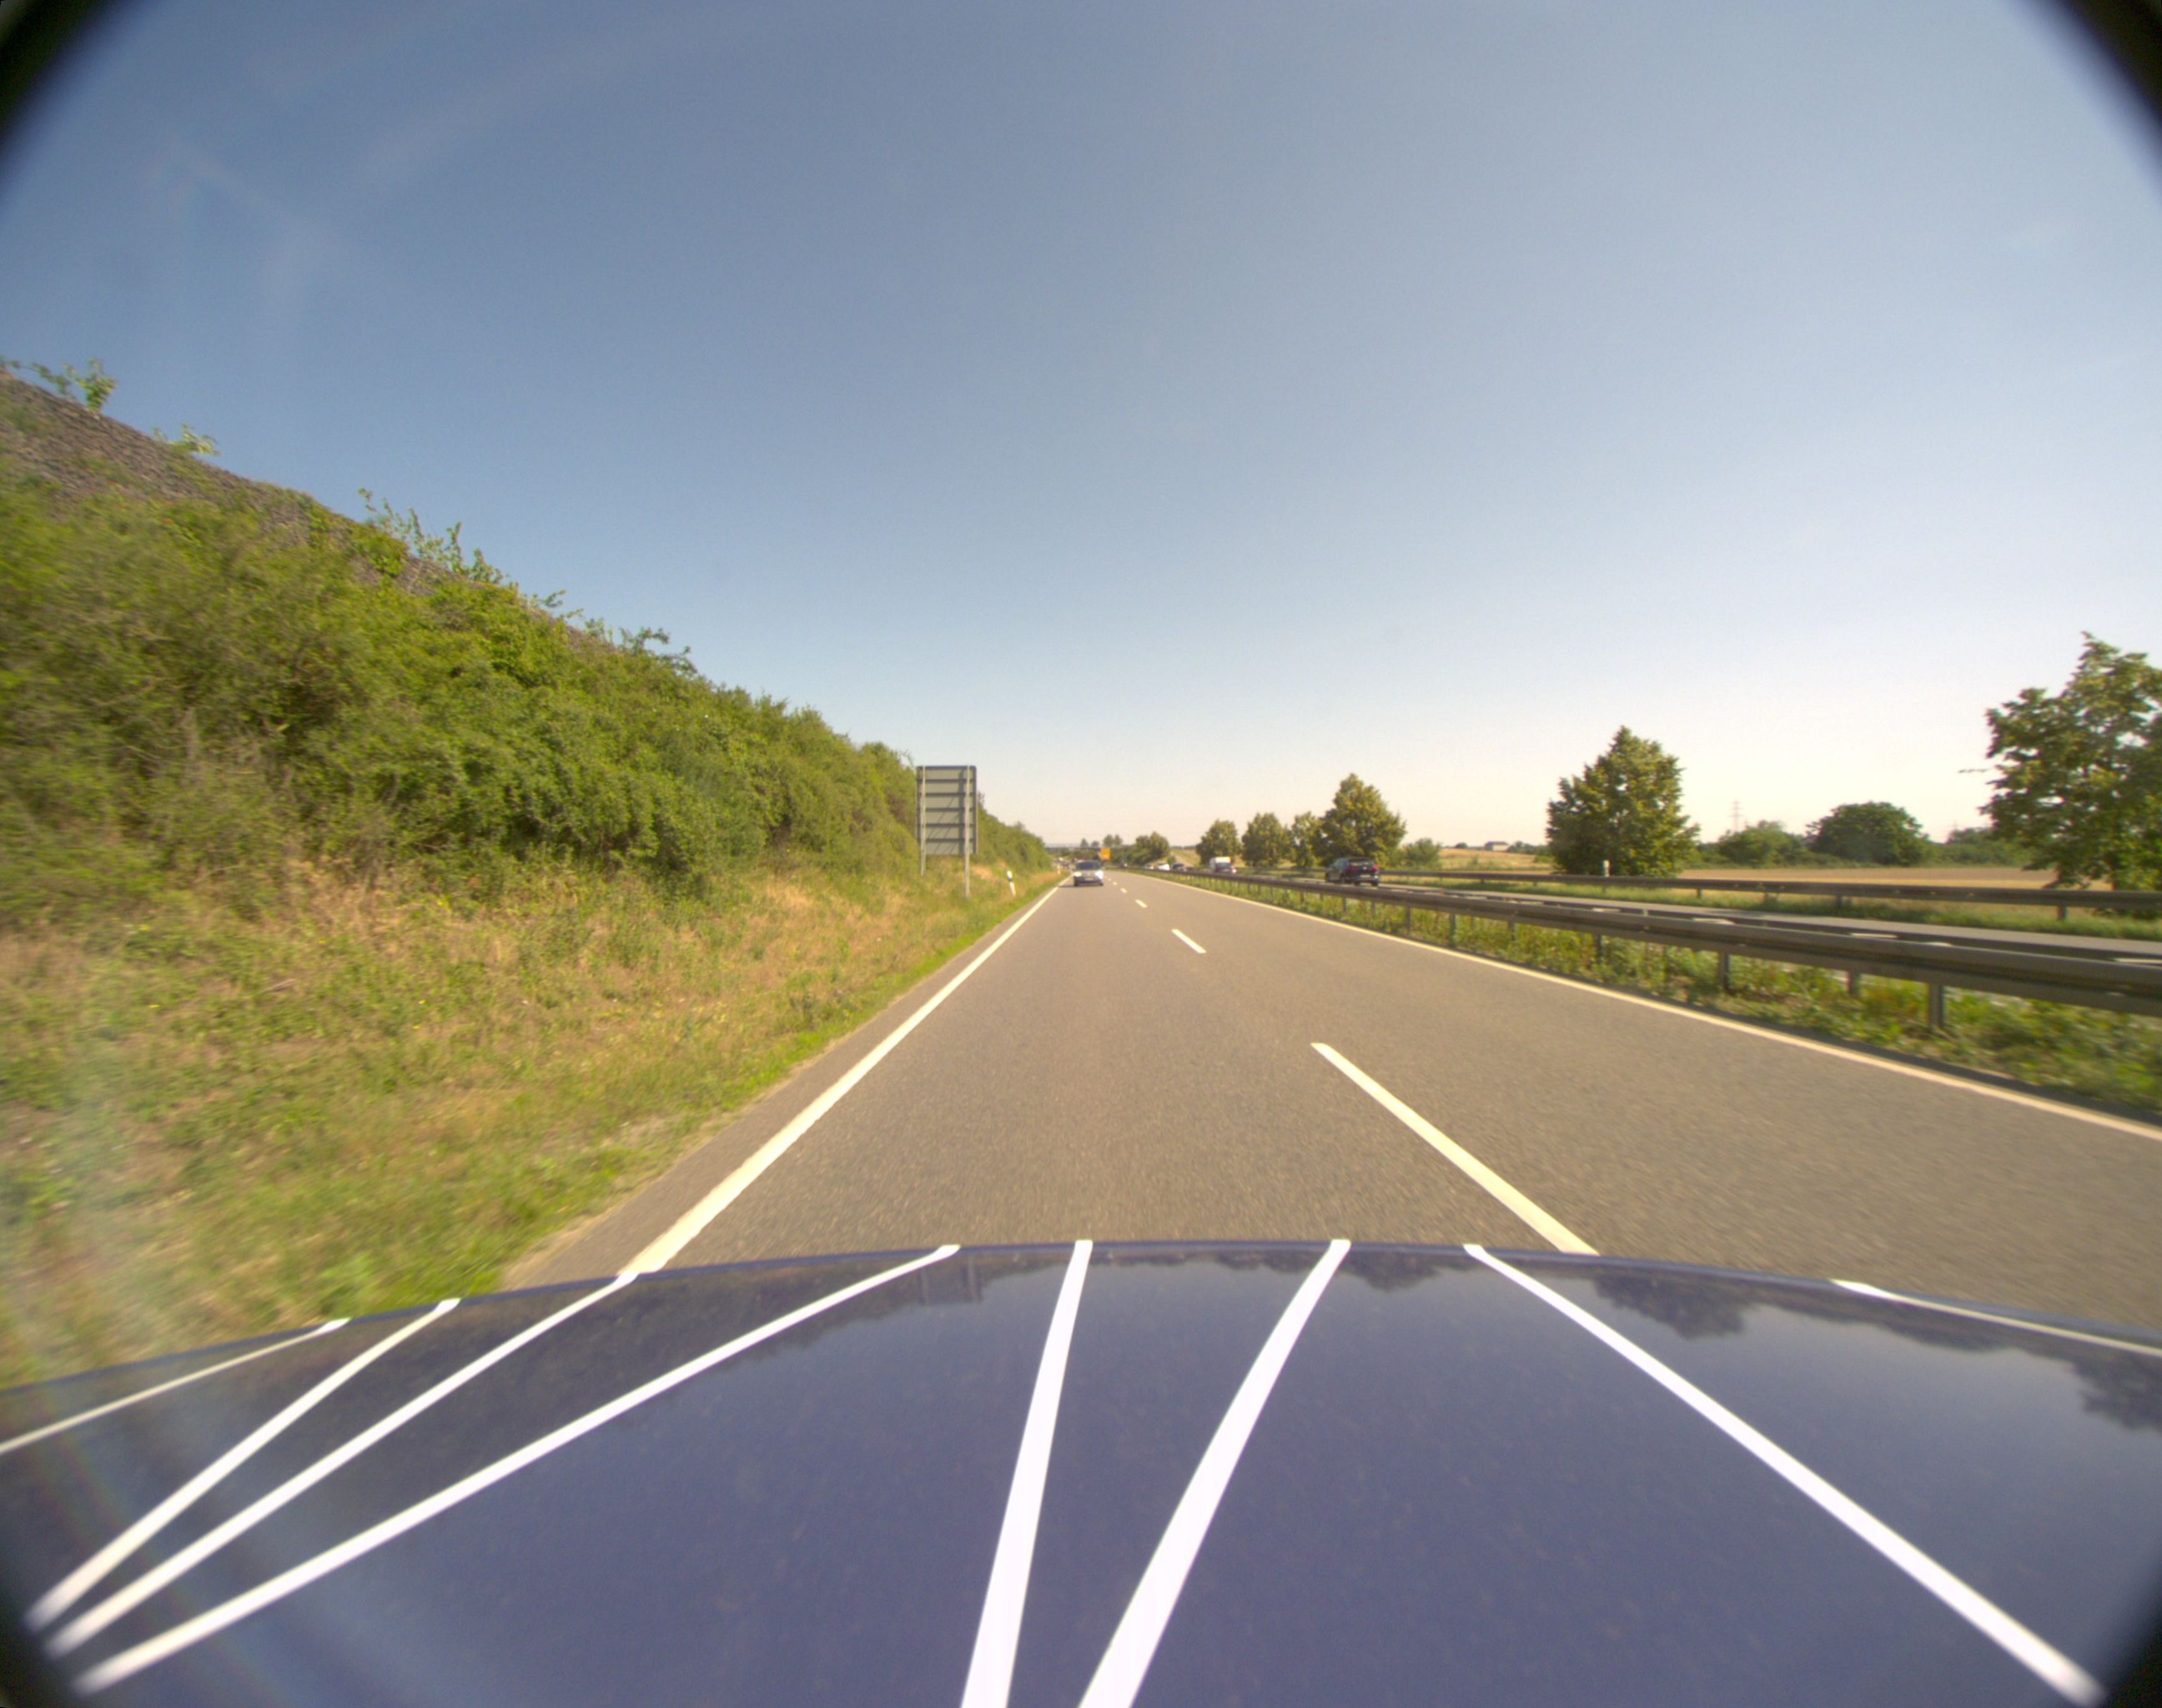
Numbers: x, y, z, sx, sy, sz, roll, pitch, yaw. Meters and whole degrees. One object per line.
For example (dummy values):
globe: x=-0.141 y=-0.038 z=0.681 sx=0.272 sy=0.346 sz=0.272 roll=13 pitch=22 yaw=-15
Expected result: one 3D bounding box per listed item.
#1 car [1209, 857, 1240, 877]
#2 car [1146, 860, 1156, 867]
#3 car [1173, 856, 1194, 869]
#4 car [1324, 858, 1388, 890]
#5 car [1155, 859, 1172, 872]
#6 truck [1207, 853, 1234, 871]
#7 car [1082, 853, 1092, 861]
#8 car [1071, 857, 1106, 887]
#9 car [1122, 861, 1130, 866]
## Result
car: x=11.577 y=1.049 z=61.643 sx=1.817 sy=1.533 sz=4.454 roll=-1 pitch=0 yaw=2
car: x=14.680 y=2.045 z=159.151 sx=1.695 sy=1.428 sz=3.939 roll=-2 pitch=0 yaw=-2
car: x=11.972 y=1.003 z=89.064 sx=1.843 sy=1.438 sz=4.038 roll=-3 pitch=-1 yaw=1
car: x=14.431 y=1.010 z=40.141 sx=1.817 sy=1.533 sz=4.453 roll=-1 pitch=0 yaw=1
car: x=11.854 y=1.616 z=109.287 sx=1.843 sy=1.655 sz=4.721 roll=-2 pitch=0 yaw=1
truck: x=15.211 y=0.904 z=83.146 sx=1.927 sy=1.829 sz=5.292 roll=-2 pitch=-1 yaw=1
car: x=1.133 y=0.542 z=135.228 sx=1.790 sy=1.212 sz=4.000 roll=-1 pitch=1 yaw=1
car: x=0.499 y=1.094 z=47.100 sx=1.854 sy=1.635 sz=4.000 roll=-2 pitch=1 yaw=4
car: x=12.309 y=2.627 z=208.515 sx=1.695 sy=1.532 sz=4.243 roll=-2 pitch=-1 yaw=-3
